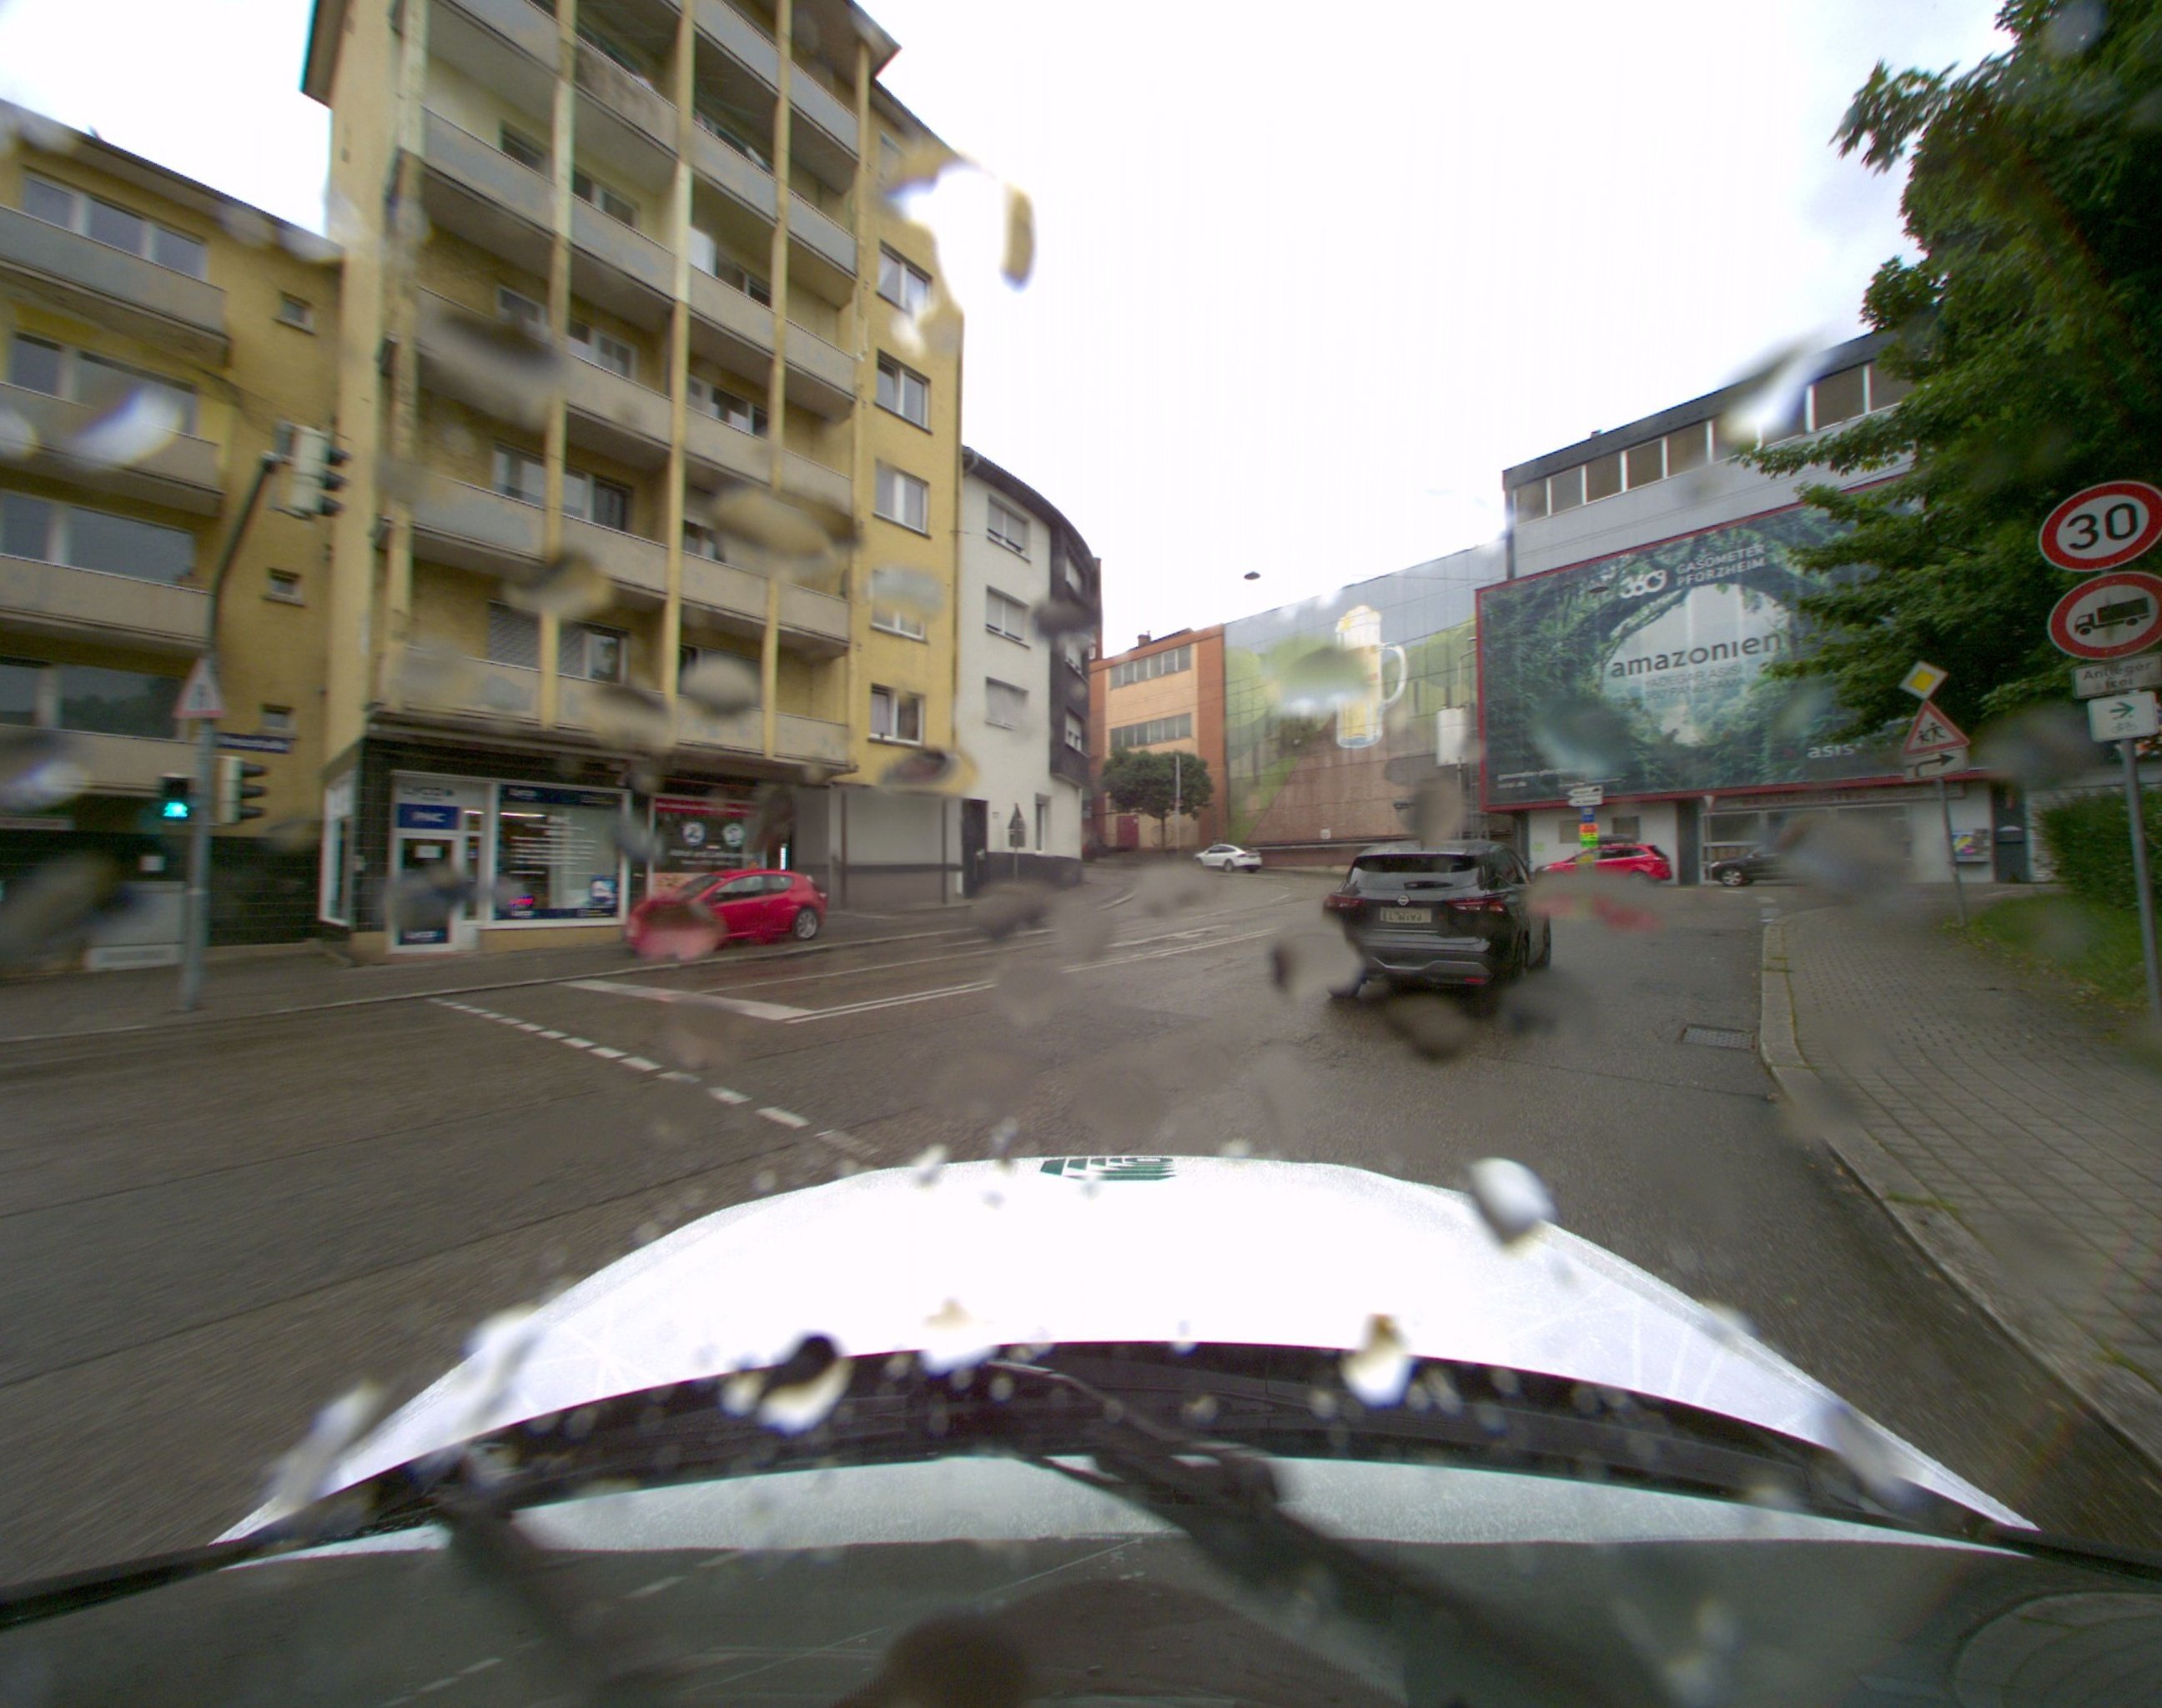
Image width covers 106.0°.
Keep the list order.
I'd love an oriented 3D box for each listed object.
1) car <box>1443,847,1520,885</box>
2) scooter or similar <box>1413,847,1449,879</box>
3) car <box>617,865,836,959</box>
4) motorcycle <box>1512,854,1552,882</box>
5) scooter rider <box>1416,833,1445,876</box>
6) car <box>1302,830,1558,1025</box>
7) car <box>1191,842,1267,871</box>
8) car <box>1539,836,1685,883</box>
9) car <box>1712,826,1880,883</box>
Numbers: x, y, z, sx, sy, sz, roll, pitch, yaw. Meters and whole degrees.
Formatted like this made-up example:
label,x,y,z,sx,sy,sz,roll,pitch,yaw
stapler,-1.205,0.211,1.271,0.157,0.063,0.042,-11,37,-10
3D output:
label,x,y,z,sx,sy,sz,roll,pitch,yaw
car,18.404,0.544,37.375,4.015,1.533,1.852,-3,1,-43
scooter or similar,15.093,0.396,35.164,0.801,1.322,1.405,-2,-1,-7
car,-6.802,1.021,15.871,1.594,1.464,3.556,1,2,41
motorcycle,19.369,0.603,34.984,1.405,1.161,0.455,-2,-3,38
scooter rider,15.082,0.014,35.164,0.801,1.821,0.780,-2,-1,-7
car,3.964,0.599,8.822,1.863,1.594,3.946,-1,0,33
car,9.004,0.131,49.903,1.864,1.617,4.869,0,2,-30
car,20.848,0.247,32.137,1.942,1.711,4.439,0,-1,-40
car,24.141,0.064,27.606,1.942,1.711,3.953,-1,-2,-40
